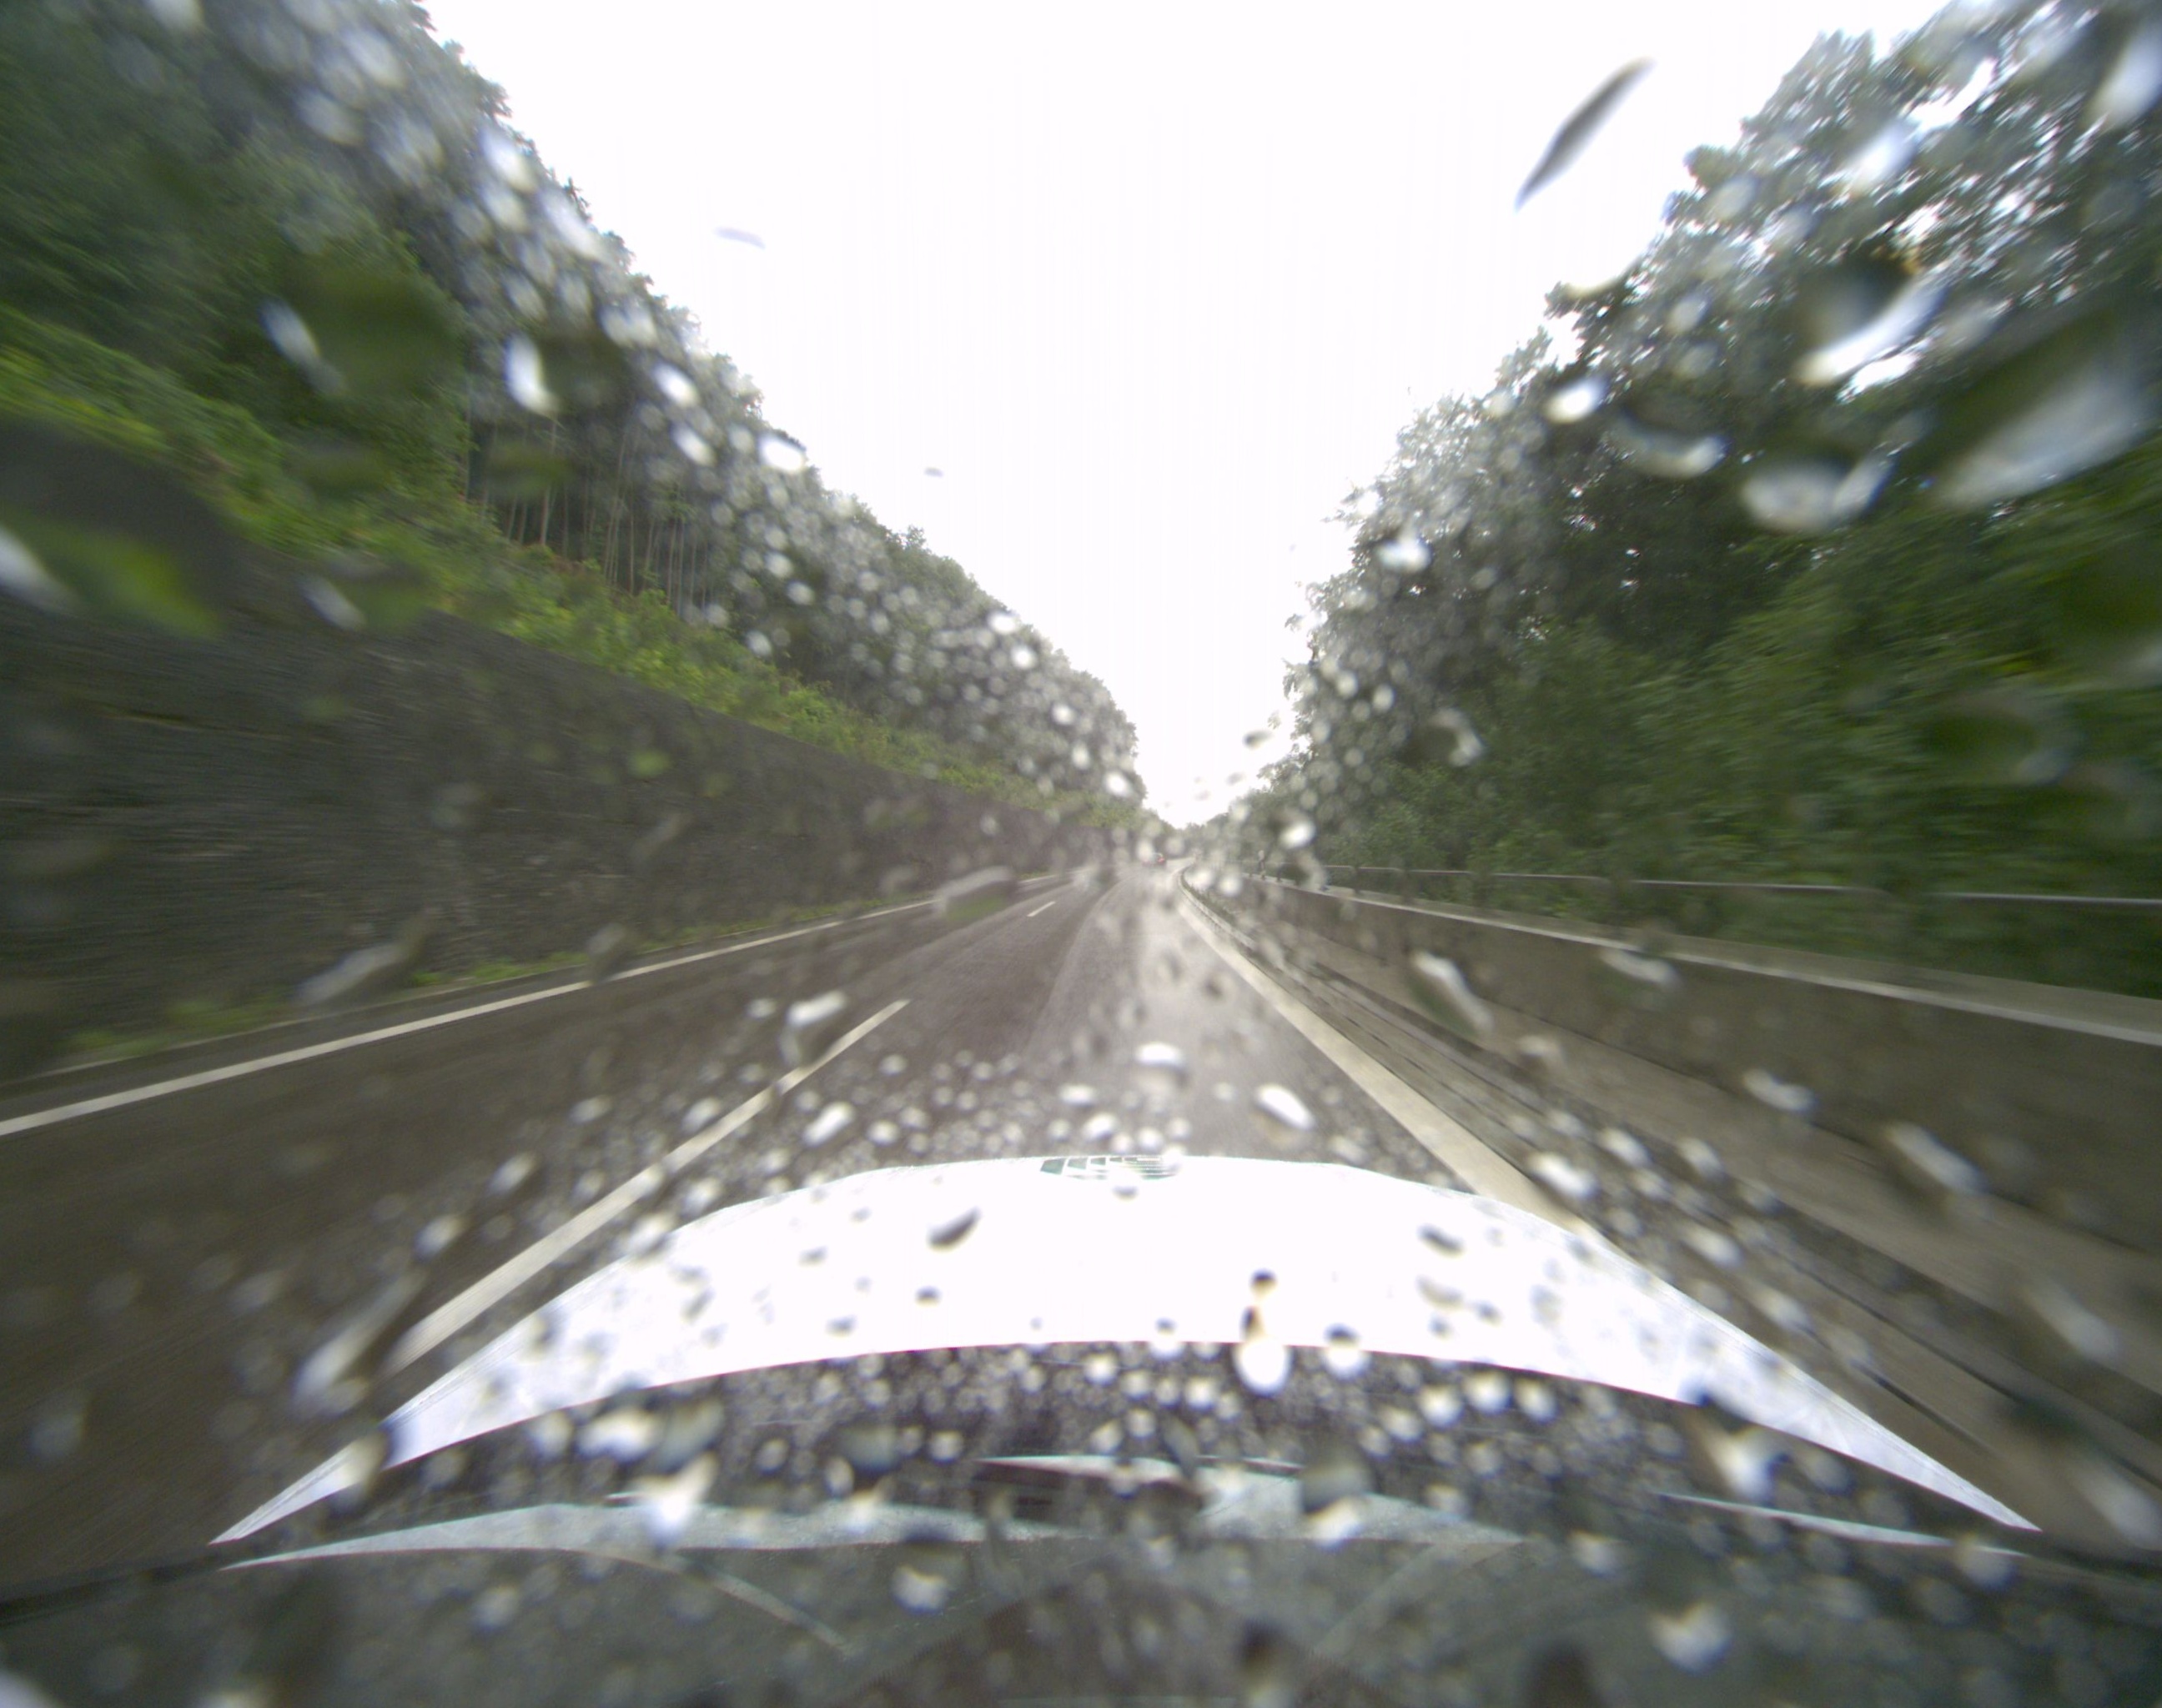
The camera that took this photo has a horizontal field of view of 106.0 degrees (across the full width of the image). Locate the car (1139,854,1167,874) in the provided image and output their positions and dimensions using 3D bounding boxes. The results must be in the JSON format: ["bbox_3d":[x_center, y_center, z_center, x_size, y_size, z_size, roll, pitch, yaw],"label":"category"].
[{"bbox_3d":[5.869,0.808,65.932,1.892,1.499,4.010,-3,0,9],"label":"car"}]
